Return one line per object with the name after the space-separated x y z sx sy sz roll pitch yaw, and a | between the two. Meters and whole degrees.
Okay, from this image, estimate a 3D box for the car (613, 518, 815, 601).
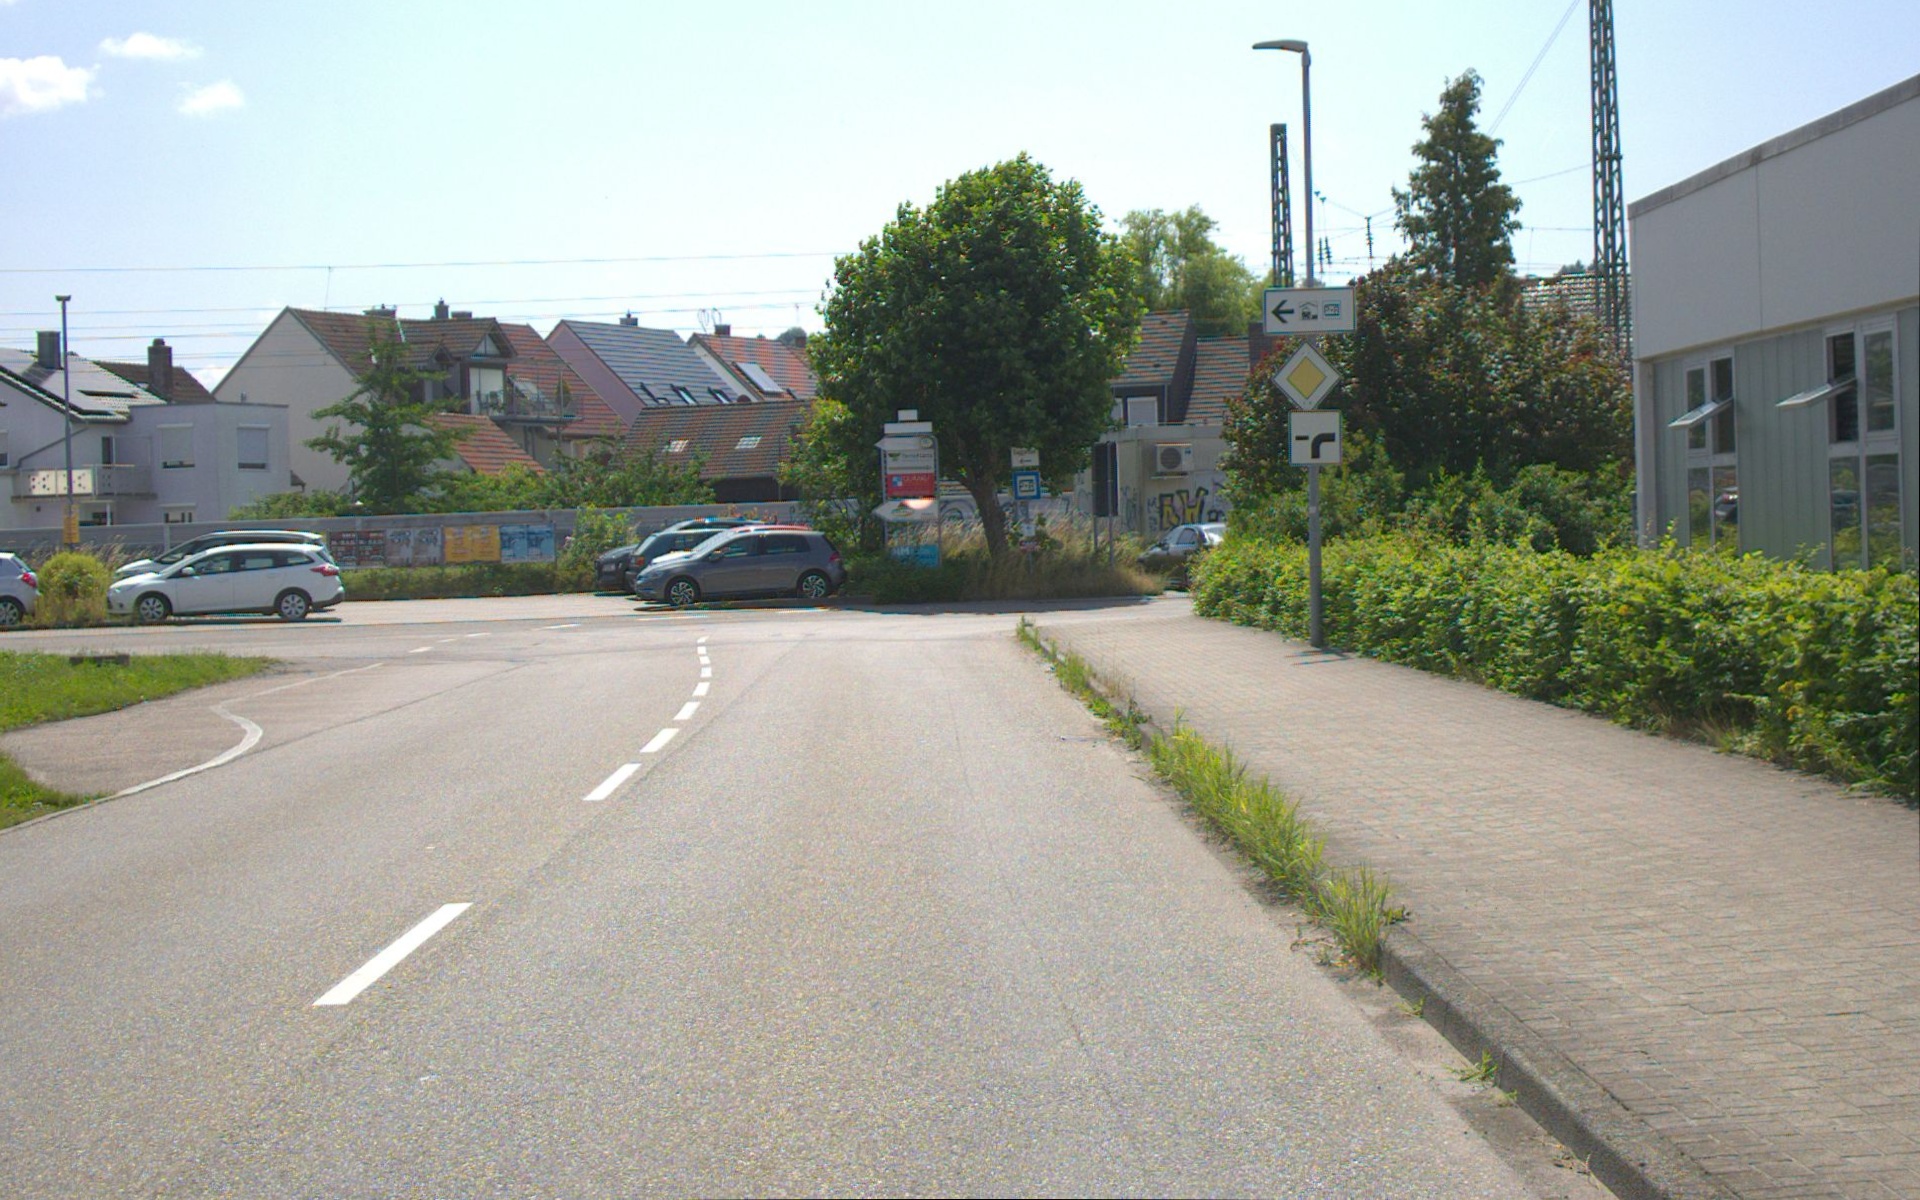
-5.140 -0.844 71.535 3.986 1.581 1.780 -2 1 -10 | car

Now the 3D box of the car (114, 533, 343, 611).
-14.217 -0.536 66.824 4.281 1.472 1.828 0 0 -13 | car

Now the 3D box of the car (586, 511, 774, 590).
-6.237 -1.097 76.379 3.986 1.724 1.771 0 0 -10 | car

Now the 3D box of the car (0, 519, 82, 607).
-19.662 -0.660 68.203 4.159 1.633 1.956 -4 2 -18 | car

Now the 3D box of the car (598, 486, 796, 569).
-5.666 -1.564 73.849 3.986 1.652 2.001 -2 1 -10 | car

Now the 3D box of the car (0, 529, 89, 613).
-18.854 -0.529 65.958 3.999 1.556 1.823 -2 1 -19 | car

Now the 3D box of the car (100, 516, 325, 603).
-15.494 -0.856 71.473 4.451 1.685 2.001 -1 2 -9 | car

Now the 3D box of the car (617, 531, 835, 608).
-4.708 -0.610 68.925 4.186 1.458 1.665 -1 1 -9 | car

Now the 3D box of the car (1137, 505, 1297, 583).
5.334 -1.189 71.831 1.751 1.381 4.002 -1 4 -21 | car

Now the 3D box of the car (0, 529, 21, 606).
-21.240 -0.613 70.454 3.781 1.553 1.695 -2 1 -14 | car
